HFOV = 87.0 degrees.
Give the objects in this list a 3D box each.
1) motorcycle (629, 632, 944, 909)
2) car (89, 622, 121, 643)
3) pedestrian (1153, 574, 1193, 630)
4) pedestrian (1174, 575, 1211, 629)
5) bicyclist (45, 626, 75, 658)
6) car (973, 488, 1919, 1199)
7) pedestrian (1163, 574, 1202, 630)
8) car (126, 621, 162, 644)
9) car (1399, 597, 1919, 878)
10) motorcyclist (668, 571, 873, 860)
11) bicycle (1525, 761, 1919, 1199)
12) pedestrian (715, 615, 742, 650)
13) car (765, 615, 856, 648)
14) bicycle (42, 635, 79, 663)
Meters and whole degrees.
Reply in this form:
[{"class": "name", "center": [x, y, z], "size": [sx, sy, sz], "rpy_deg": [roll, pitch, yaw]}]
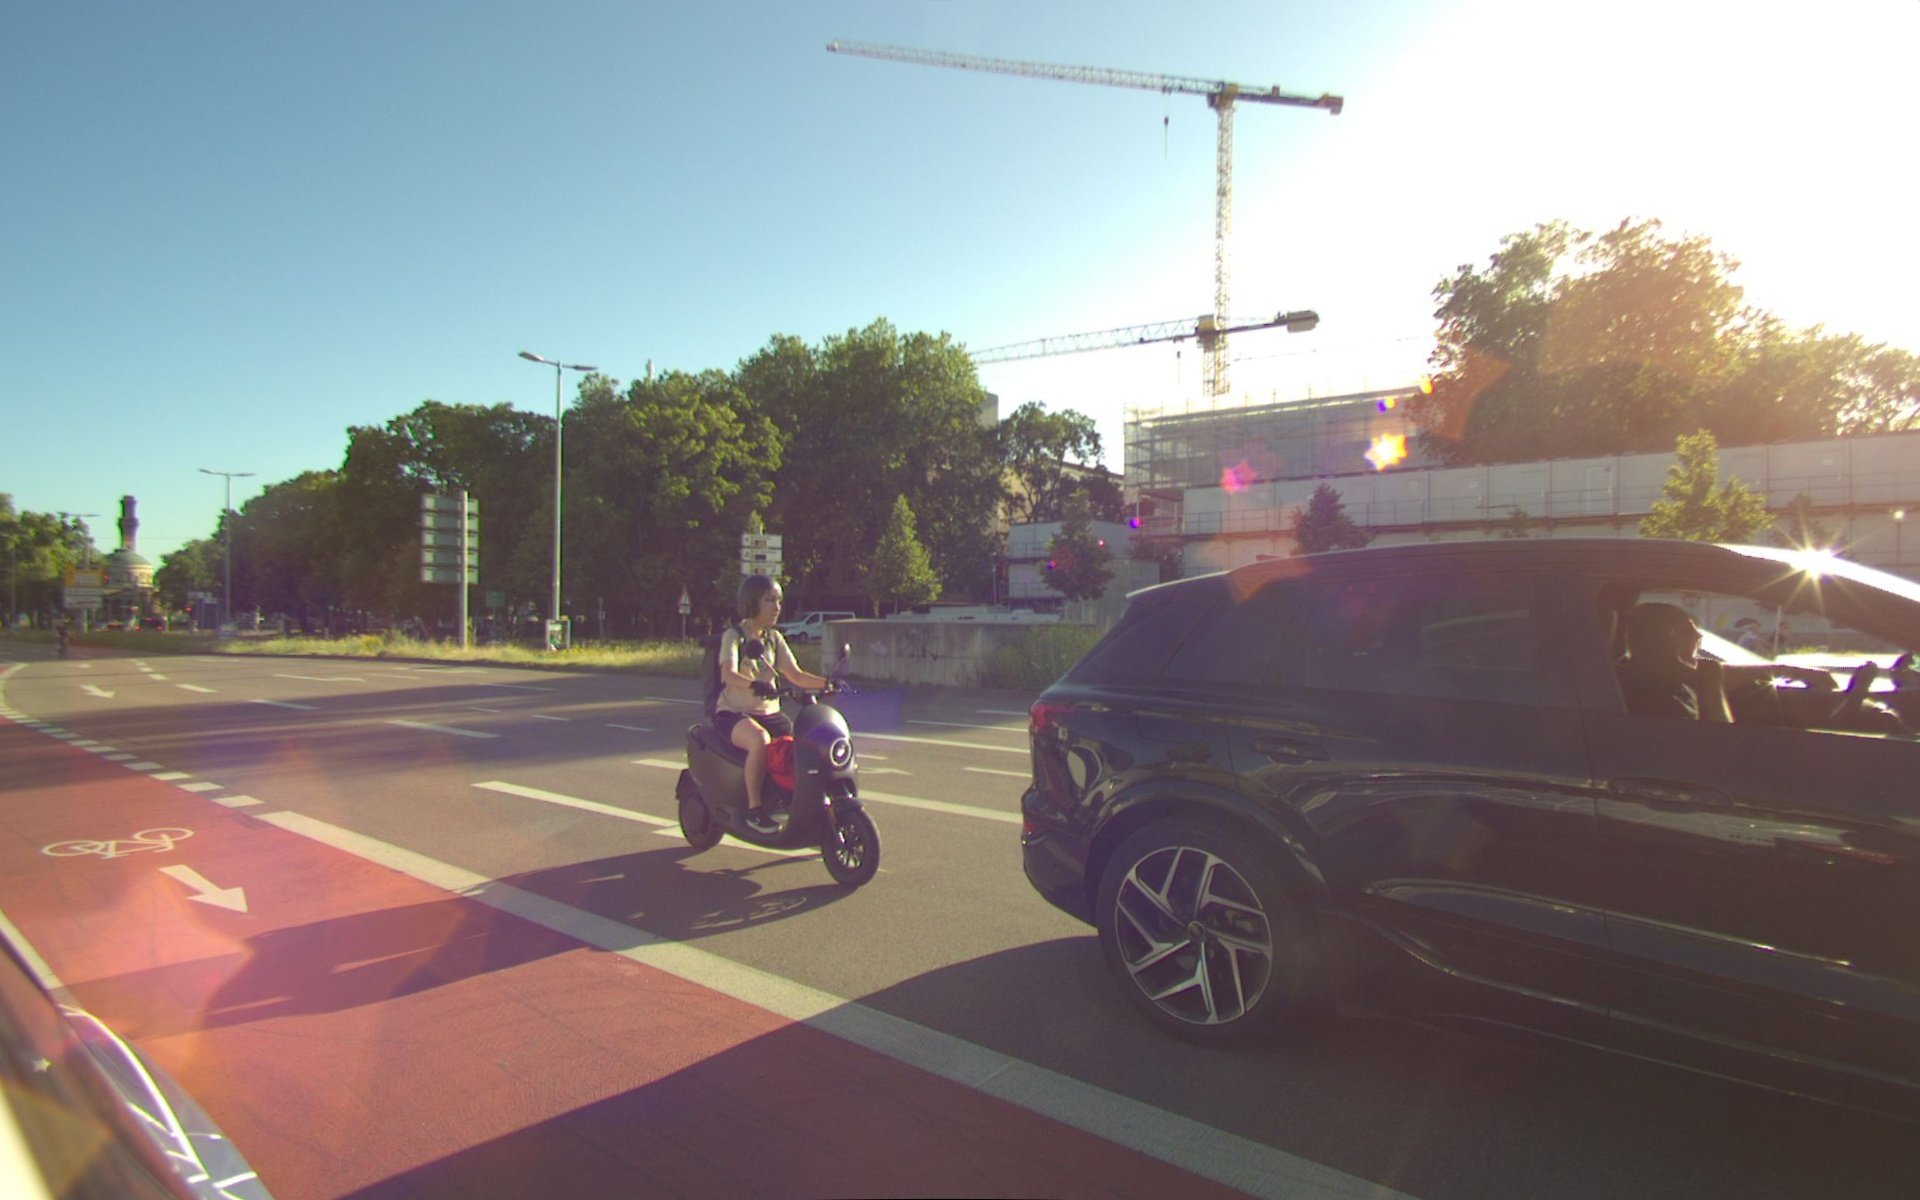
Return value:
[{"class": "motorcycle", "center": [-1.038, 0.844, 5.736], "size": [1.883, 1.303, 0.715], "rpy_deg": [-2, -1, 41]}, {"class": "car", "center": [-79.879, 3.006, 94.535], "size": [3.945, 1.802, 1.725], "rpy_deg": [-1, 0, 41]}, {"class": "pedestrian", "center": [7.834, 0.083, 37.208], "size": [1.135, 2.029, 0.930], "rpy_deg": [-1, 0, 35]}, {"class": "pedestrian", "center": [8.916, 0.068, 38.817], "size": [1.135, 2.029, 0.930], "rpy_deg": [-1, 0, 35]}, {"class": "bicyclist", "center": [-38.295, 1.778, 43.053], "size": [0.829, 1.358, 0.843], "rpy_deg": [-2, -1, 41]}, {"class": "car", "center": [2.411, 0.579, 3.032], "size": [4.677, 1.647, 1.753], "rpy_deg": [-1, 0, 40]}, {"class": "pedestrian", "center": [8.367, 0.076, 38.008], "size": [1.135, 2.029, 0.930], "rpy_deg": [-1, 0, 35]}, {"class": "car", "center": [-71.555, 2.827, 88.709], "size": [3.998, 1.841, 1.796], "rpy_deg": [-1, 0, 41]}, {"class": "car", "center": [4.969, 0.756, 6.552], "size": [3.603, 1.497, 1.477], "rpy_deg": [-2, -1, 41]}, {"class": "motorcyclist", "center": [-1.084, 0.598, 5.776], "size": [0.917, 1.485, 0.717], "rpy_deg": [-2, -1, 41]}, {"class": "bicycle", "center": [1.275, 0.778, 0.310], "size": [1.829, 1.227, 0.610], "rpy_deg": [-2, -1, 39]}, {"class": "pedestrian", "center": [-12.337, 1.732, 54.006], "size": [1.017, 1.845, 0.977], "rpy_deg": [-1, 0, 36]}, {"class": "car", "center": [-9.069, 1.912, 61.851], "size": [2.065, 1.950, 5.443], "rpy_deg": [-1, -2, 42]}, {"class": "bicycle", "center": [-38.317, 2.082, 43.080], "size": [2.806, 1.124, 0.843], "rpy_deg": [-2, -1, 41]}]
